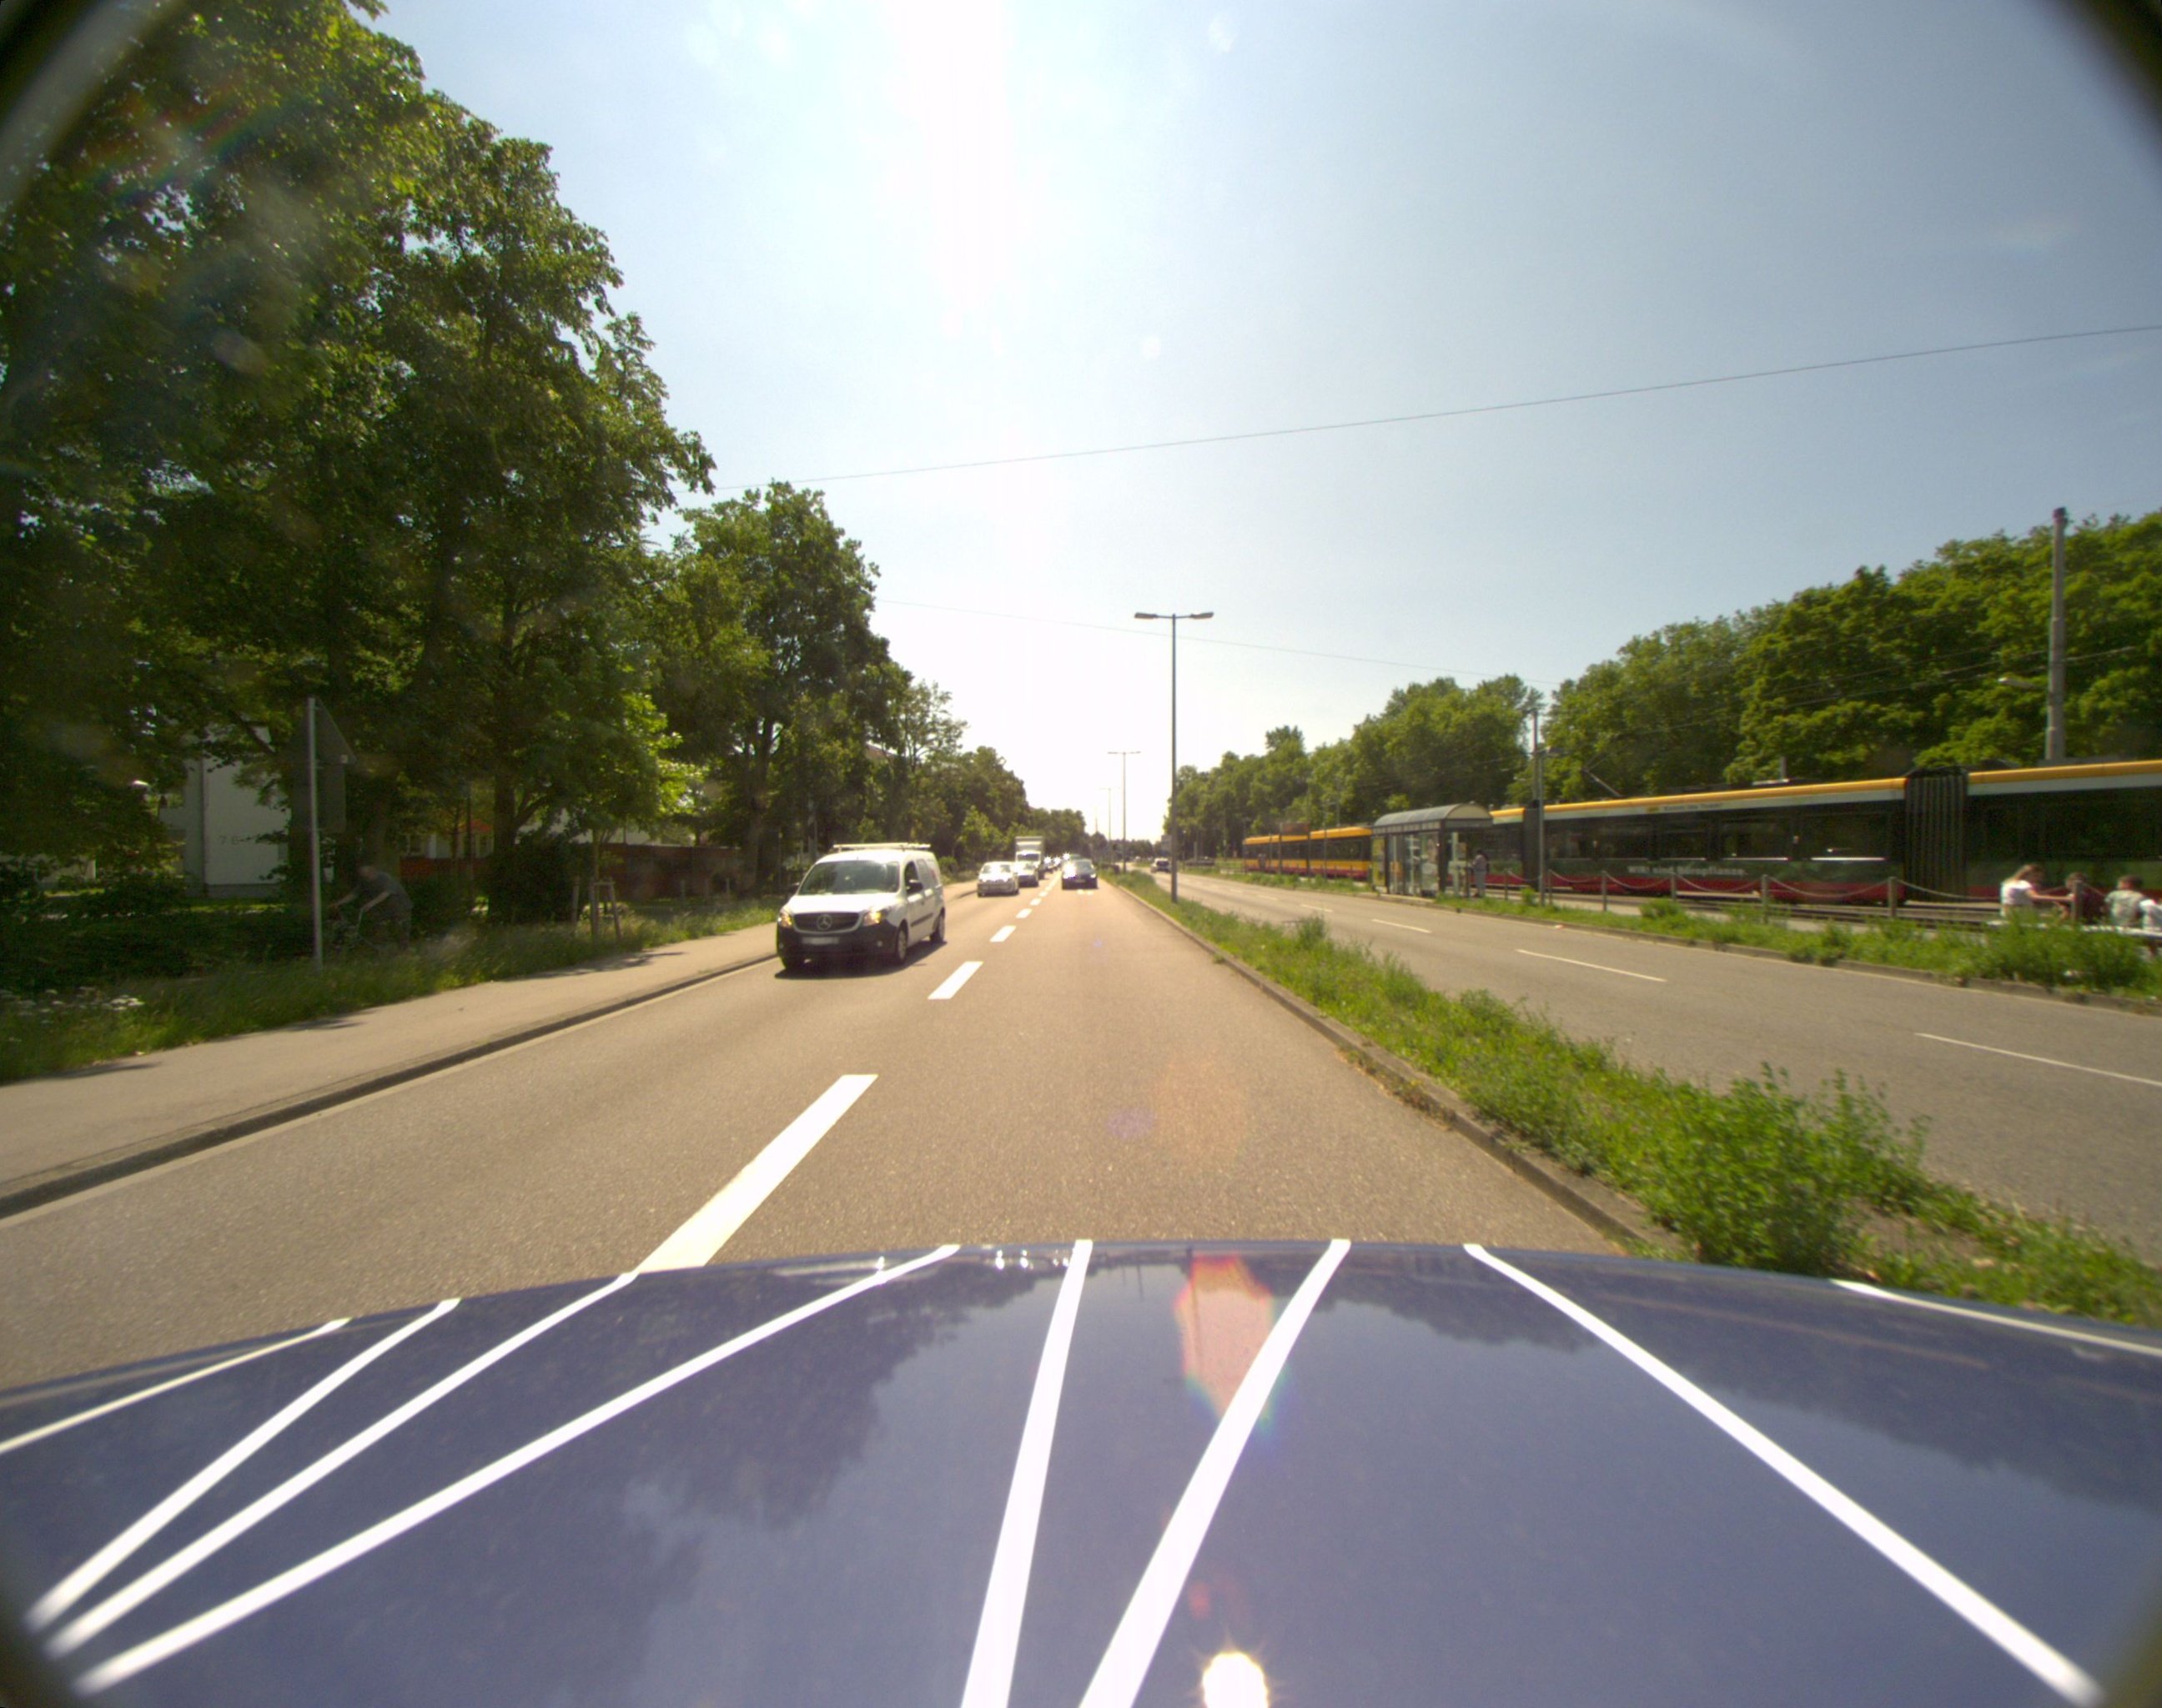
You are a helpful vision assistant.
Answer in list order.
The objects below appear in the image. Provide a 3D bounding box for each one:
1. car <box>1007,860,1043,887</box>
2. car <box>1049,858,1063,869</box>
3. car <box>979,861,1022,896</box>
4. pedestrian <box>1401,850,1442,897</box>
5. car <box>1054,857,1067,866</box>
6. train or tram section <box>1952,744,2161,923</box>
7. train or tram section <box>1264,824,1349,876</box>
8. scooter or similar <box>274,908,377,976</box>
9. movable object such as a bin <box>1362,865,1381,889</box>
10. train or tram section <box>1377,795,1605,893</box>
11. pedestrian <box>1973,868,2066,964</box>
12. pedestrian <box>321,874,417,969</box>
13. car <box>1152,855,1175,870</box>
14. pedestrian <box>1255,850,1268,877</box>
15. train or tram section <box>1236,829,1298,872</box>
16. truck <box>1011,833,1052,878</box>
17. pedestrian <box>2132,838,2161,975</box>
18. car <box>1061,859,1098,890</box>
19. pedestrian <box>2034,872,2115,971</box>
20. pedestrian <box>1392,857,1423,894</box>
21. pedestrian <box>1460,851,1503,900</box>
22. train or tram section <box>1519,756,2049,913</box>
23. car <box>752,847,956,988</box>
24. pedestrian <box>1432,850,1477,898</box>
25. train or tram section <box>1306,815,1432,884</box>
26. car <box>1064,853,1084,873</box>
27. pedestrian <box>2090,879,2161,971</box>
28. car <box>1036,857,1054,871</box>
[{"bbox_3d":[-3.131,1.076,42.997,1.618,1.373,4.115,-2,0,1],"label":"car"},{"bbox_3d":[-3.281,1.214,99.841,1.618,1.373,4.115,-2,0,1],"label":"car"},{"bbox_3d":[-3.568,1.071,34.257,1.626,1.432,3.498,-2,0,-2],"label":"car"},{"bbox_3d":[11.663,0.659,26.029,0.876,1.537,1.026,-2,0,-2],"label":"pedestrian"},{"bbox_3d":[-3.186,1.186,118.290,1.746,1.382,3.887,-1,0,0],"label":"car"},{"bbox_3d":[24.741,-0.517,13.061,3.058,3.603,12.425,-2,0,-28],"label":"train or tram section"},{"bbox_3d":[18.171,-0.259,62.404,3.051,3.719,12.594,-2,0,-1],"label":"train or tram section"},{"bbox_3d":[-11.059,1.278,11.151,0.710,0.888,0.763,-2,0,1],"label":"scooter or similar"},{"bbox_3d":[11.897,0.943,31.165,0.483,0.972,0.645,-1,0,-4],"label":"movable object such as a bin"},{"bbox_3d":[18.310,-0.375,35.852,3.051,3.603,13.896,-2,0,-1],"label":"train or tram section"},{"bbox_3d":[12.235,0.793,9.920,0.582,1.182,0.536,-2,0,-11],"label":"pedestrian"},{"bbox_3d":[-11.059,1.028,11.820,0.710,1.390,0.763,-2,0,1],"label":"pedestrian"},{"bbox_3d":[8.376,0.869,77.285,1.774,1.496,3.719,-1,0,-2],"label":"car"},{"bbox_3d":[12.264,0.644,51.565,0.633,1.780,0.776,-2,0,-2],"label":"pedestrian"},{"bbox_3d":[18.006,-0.318,74.512,2.957,3.833,11.539,-2,0,-1],"label":"train or tram section"},{"bbox_3d":[-3.776,0.127,59.289,2.490,3.276,6.605,-1,0,2],"label":"truck"},{"bbox_3d":[12.562,0.594,8.583,0.536,1.556,0.582,-2,0,-2],"label":"pedestrian"},{"bbox_3d":[-0.043,0.994,38.842,1.746,1.382,3.887,-2,0,0],"label":"car"},{"bbox_3d":[12.357,0.825,9.455,0.495,1.182,0.400,-2,0,-8],"label":"pedestrian"},{"bbox_3d":[11.587,0.764,26.987,0.703,1.276,0.840,-2,0,-2],"label":"pedestrian"},{"bbox_3d":[12.706,0.675,24.115,0.837,1.499,0.879,-2,0,-2],"label":"pedestrian"},{"bbox_3d":[20.194,-0.431,23.922,3.055,3.603,12.435,-2,0,-16],"label":"train or tram section"},{"bbox_3d":[-3.503,0.865,12.863,1.809,1.845,5.082,-2,0,1],"label":"car"},{"bbox_3d":[12.274,0.645,24.974,0.933,1.537,0.985,-2,0,-2],"label":"pedestrian"},{"bbox_3d":[18.214,-0.233,49.446,3.051,3.745,13.261,-2,0,0],"label":"train or tram section"},{"bbox_3d":[-0.614,0.803,70.403,1.746,1.840,3.887,-1,0,0],"label":"car"},{"bbox_3d":[12.527,0.841,9.090,0.384,1.052,0.377,-2,0,-2],"label":"pedestrian"},{"bbox_3d":[-3.827,1.036,80.941,1.746,1.382,3.887,-1,0,0],"label":"car"}]
